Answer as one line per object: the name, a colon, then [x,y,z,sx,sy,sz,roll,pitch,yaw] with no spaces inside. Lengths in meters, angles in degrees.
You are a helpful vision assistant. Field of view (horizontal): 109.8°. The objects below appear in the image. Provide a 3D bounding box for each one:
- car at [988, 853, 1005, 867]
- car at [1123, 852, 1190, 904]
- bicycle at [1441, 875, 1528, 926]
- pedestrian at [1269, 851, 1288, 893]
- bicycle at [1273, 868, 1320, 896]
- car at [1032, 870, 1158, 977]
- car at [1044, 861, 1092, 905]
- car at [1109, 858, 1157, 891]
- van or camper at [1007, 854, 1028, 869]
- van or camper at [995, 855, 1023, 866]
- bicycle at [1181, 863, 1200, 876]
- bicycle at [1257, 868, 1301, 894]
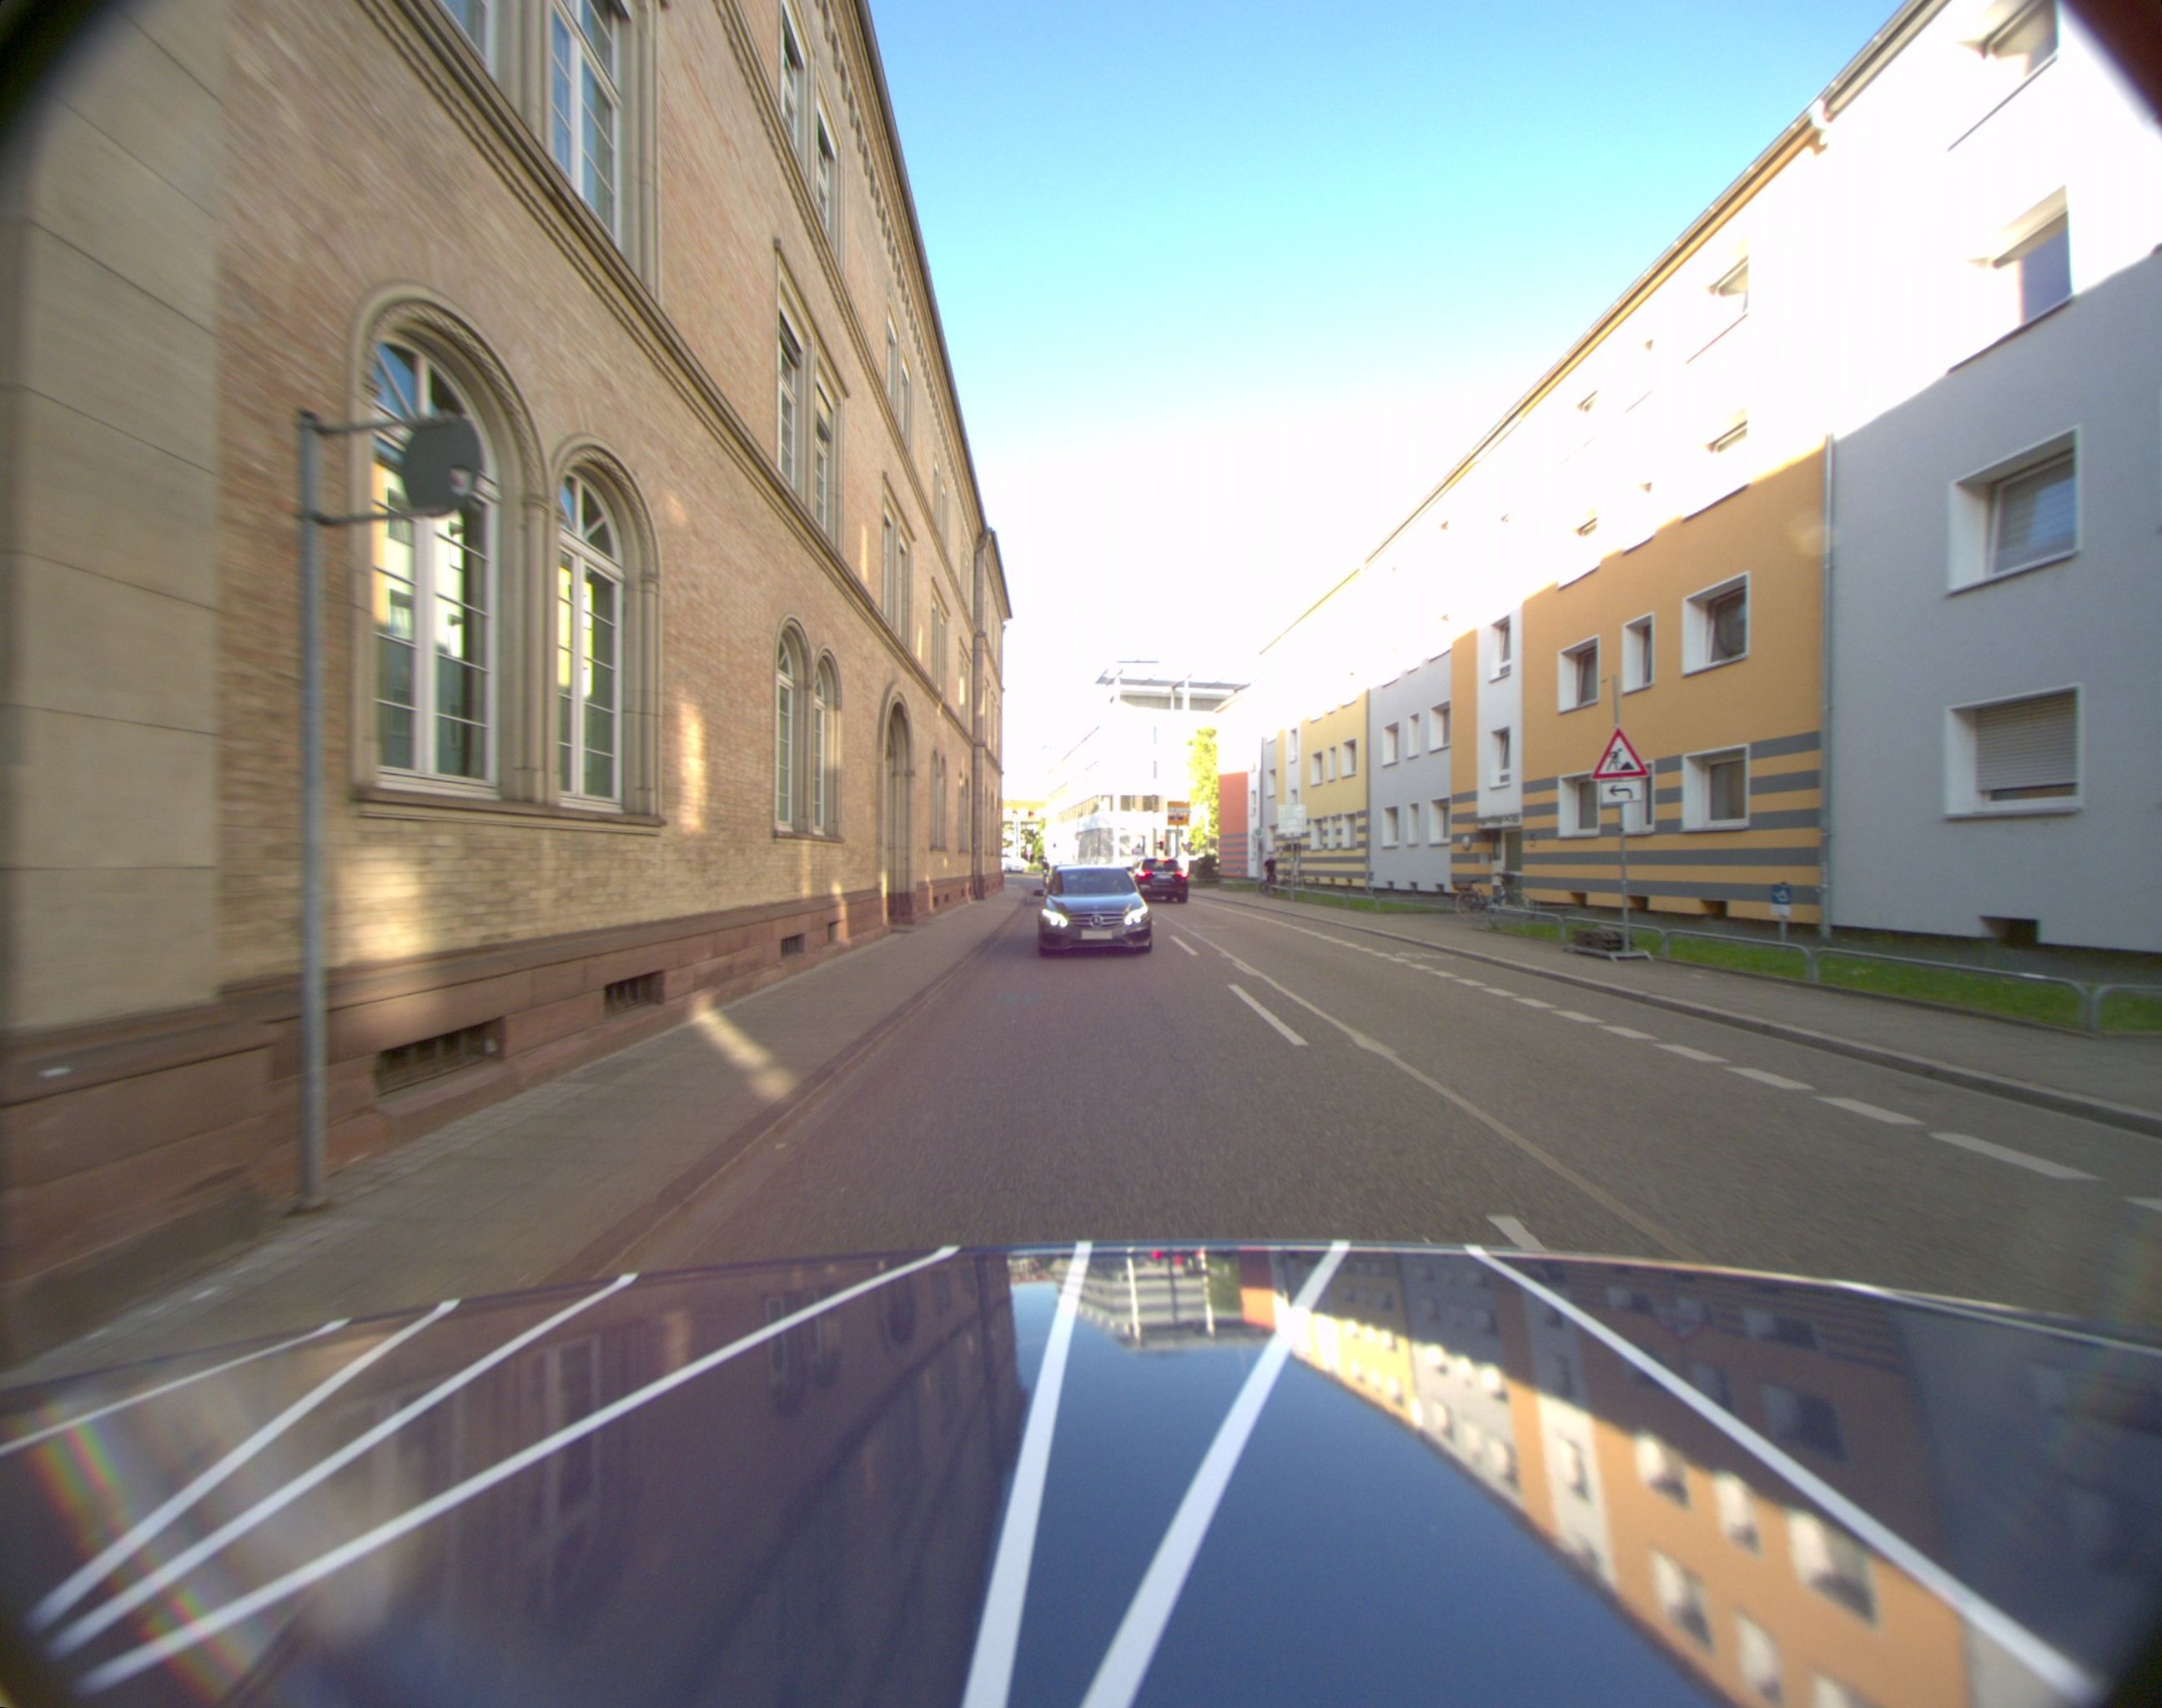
car: [-12.268,0.883,110.525,2.001,2.002,3.995,0,0,-13]
car: [2.851,0.865,29.779,1.905,1.824,5.094,2,0,-2]
bicycle: [9.361,1.062,17.652,1.757,1.138,0.650,0,0,-9]
pedestrian: [8.738,0.793,33.541,0.720,1.844,0.871,0,0,20]
bicycle: [9.025,1.163,31.818,1.757,1.138,0.650,0,0,-9]
car: [0.275,1.042,13.196,1.798,1.459,4.720,0,0,2]
car: [-0.458,1.083,29.792,1.747,1.594,4.000,0,0,0]
car: [2.459,0.944,36.626,1.746,1.477,4.135,2,0,-3]
van or camper: [-8.437,0.949,100.886,2.163,2.002,4.971,0,0,-12]
van or camper: [-13.011,1.200,137.855,4.737,2.074,1.996,0,0,-22]
bicycle: [10.520,1.472,72.917,0.471,1.175,1.987,-1,1,-40]
bicycle: [8.640,1.175,33.182,1.757,1.138,0.650,0,0,-9]
